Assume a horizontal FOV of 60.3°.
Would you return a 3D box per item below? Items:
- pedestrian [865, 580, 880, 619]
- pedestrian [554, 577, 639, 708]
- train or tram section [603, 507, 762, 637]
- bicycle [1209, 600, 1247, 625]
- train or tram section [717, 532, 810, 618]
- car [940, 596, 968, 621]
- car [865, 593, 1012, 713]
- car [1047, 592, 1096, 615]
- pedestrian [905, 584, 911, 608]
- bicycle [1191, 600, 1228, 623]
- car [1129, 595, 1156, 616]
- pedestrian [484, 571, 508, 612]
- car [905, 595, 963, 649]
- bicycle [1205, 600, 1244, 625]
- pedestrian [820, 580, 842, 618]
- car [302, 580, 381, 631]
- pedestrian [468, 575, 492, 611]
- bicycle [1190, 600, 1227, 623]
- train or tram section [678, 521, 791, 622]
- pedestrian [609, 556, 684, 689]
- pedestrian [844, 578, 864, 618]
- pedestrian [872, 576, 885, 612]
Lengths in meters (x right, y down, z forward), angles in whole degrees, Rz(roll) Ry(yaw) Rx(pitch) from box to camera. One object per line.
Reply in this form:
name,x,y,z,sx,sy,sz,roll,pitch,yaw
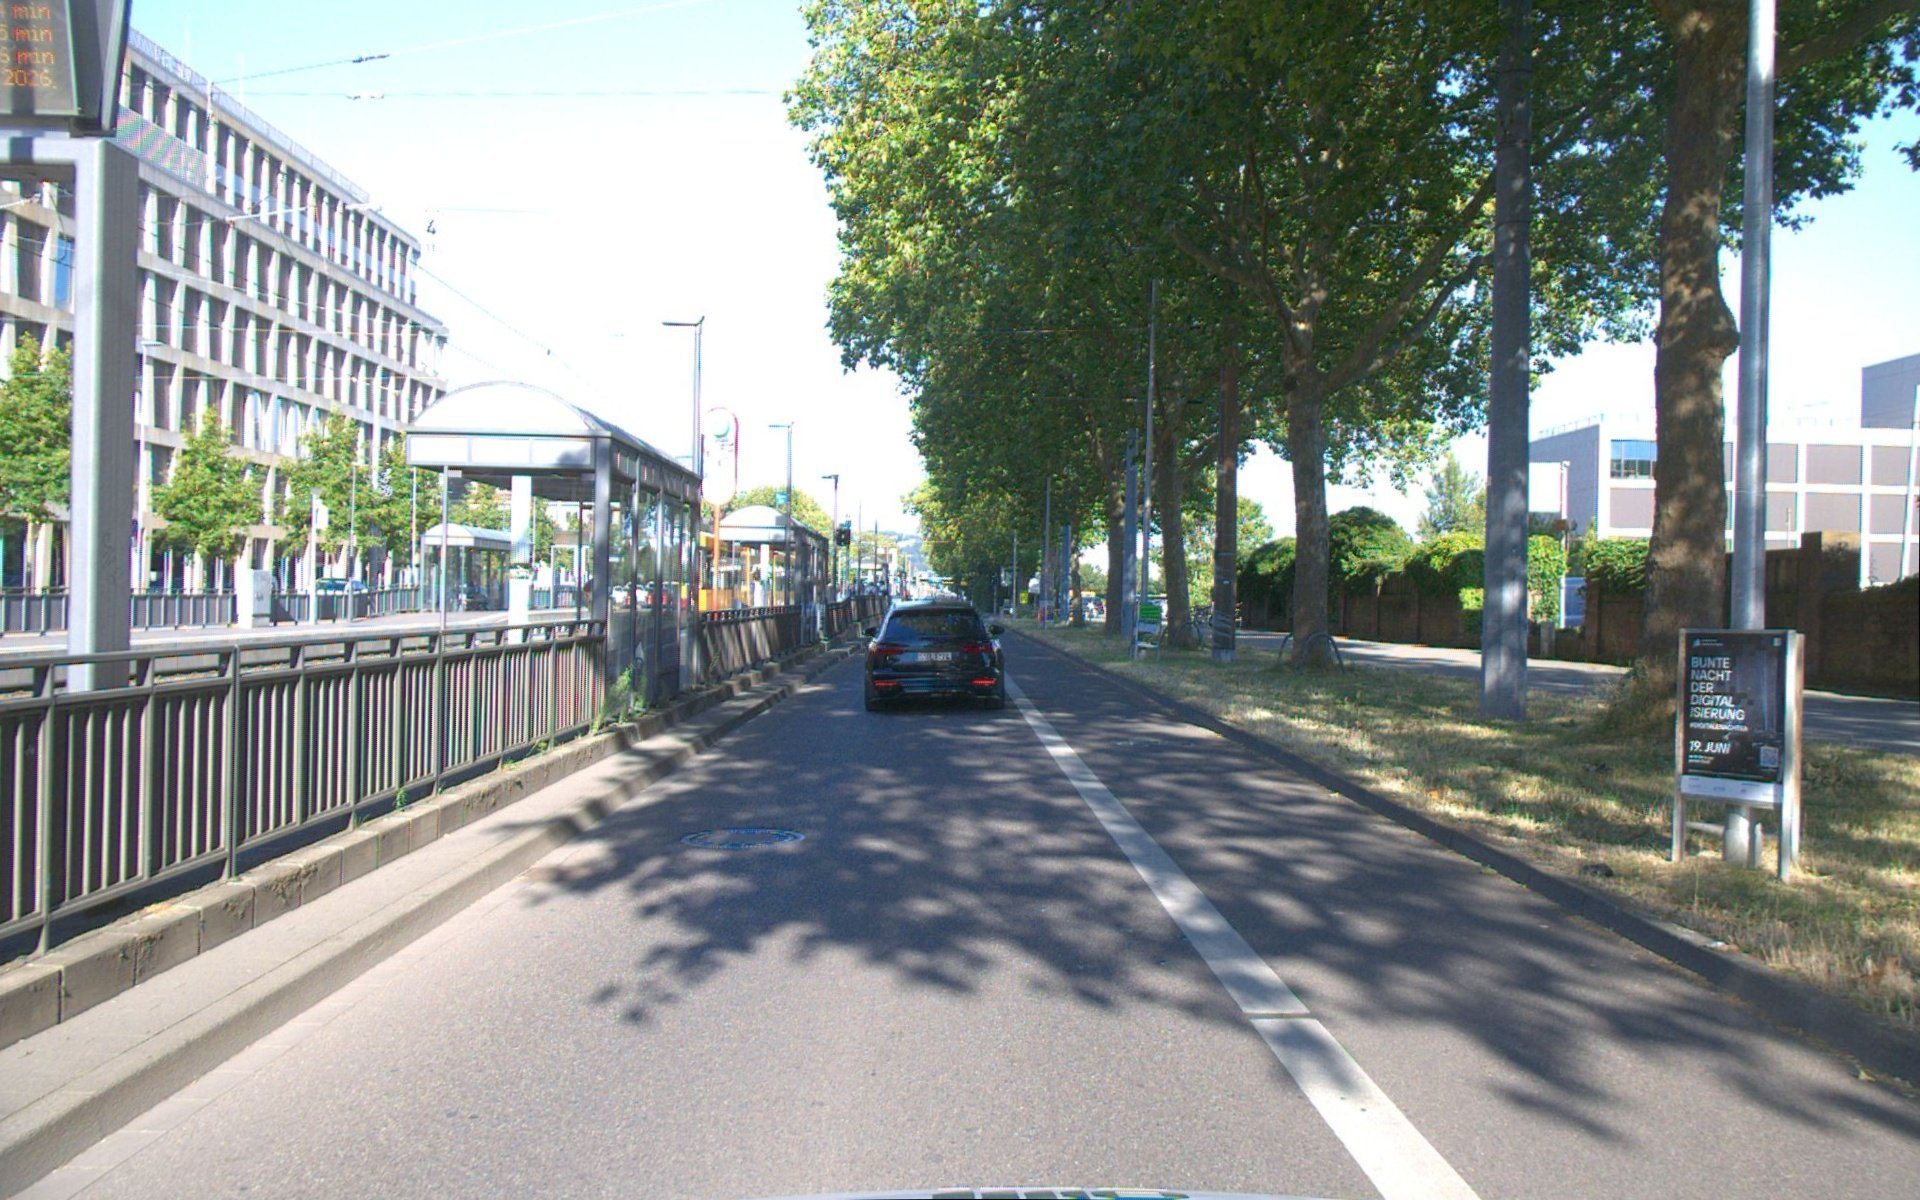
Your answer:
pedestrian,-3.843,-0.035,72.534,0.599,1.698,0.613,1,0,1
pedestrian,-3.658,0.419,16.669,0.727,1.296,0.524,1,0,-1
train or tram section,-9.293,-0.869,57.479,3.242,3.896,14.216,1,0,-1
bicycle,12.248,0.583,75.588,1.653,1.140,0.439,0,0,-2
train or tram section,-9.576,-1.154,82.082,3.242,3.896,11.841,1,0,-1
car,-0.412,0.560,113.059,1.727,1.647,3.998,1,0,-3
car,-0.351,0.659,22.388,1.840,1.482,3.355,0,0,-3
car,9.128,0.290,135.948,3.905,1.795,1.833,1,0,0
pedestrian,-3.839,-0.317,122.085,0.403,1.747,0.665,1,0,-1
bicycle,12.345,0.558,81.871,1.737,1.140,0.439,0,0,-2
car,13.757,0.402,124.939,1.581,1.542,3.803,1,0,0
pedestrian,-17.838,-0.324,63.581,0.601,1.554,0.725,1,0,8
car,-0.869,0.682,53.397,1.727,1.647,3.998,1,0,-3
bicycle,12.240,0.581,76.654,1.737,1.140,0.439,0,0,-2
pedestrian,-6.301,-0.047,80.828,0.788,1.815,0.639,1,0,-41
car,-25.930,0.225,69.506,1.954,2.049,3.998,1,0,-3
pedestrian,-17.728,-0.256,61.100,0.601,1.282,0.725,1,0,3
bicycle,12.133,0.567,80.822,1.737,1.140,0.439,0,0,-2
train or tram section,-9.425,-1.132,70.569,3.242,3.896,11.841,1,0,-1
pedestrian,-3.691,0.259,19.503,0.730,1.535,0.666,0,0,2
pedestrian,-4.273,-0.075,66.699,0.601,1.576,0.725,1,0,10
pedestrian,-4.176,-0.297,84.987,0.599,1.815,0.613,1,0,0
